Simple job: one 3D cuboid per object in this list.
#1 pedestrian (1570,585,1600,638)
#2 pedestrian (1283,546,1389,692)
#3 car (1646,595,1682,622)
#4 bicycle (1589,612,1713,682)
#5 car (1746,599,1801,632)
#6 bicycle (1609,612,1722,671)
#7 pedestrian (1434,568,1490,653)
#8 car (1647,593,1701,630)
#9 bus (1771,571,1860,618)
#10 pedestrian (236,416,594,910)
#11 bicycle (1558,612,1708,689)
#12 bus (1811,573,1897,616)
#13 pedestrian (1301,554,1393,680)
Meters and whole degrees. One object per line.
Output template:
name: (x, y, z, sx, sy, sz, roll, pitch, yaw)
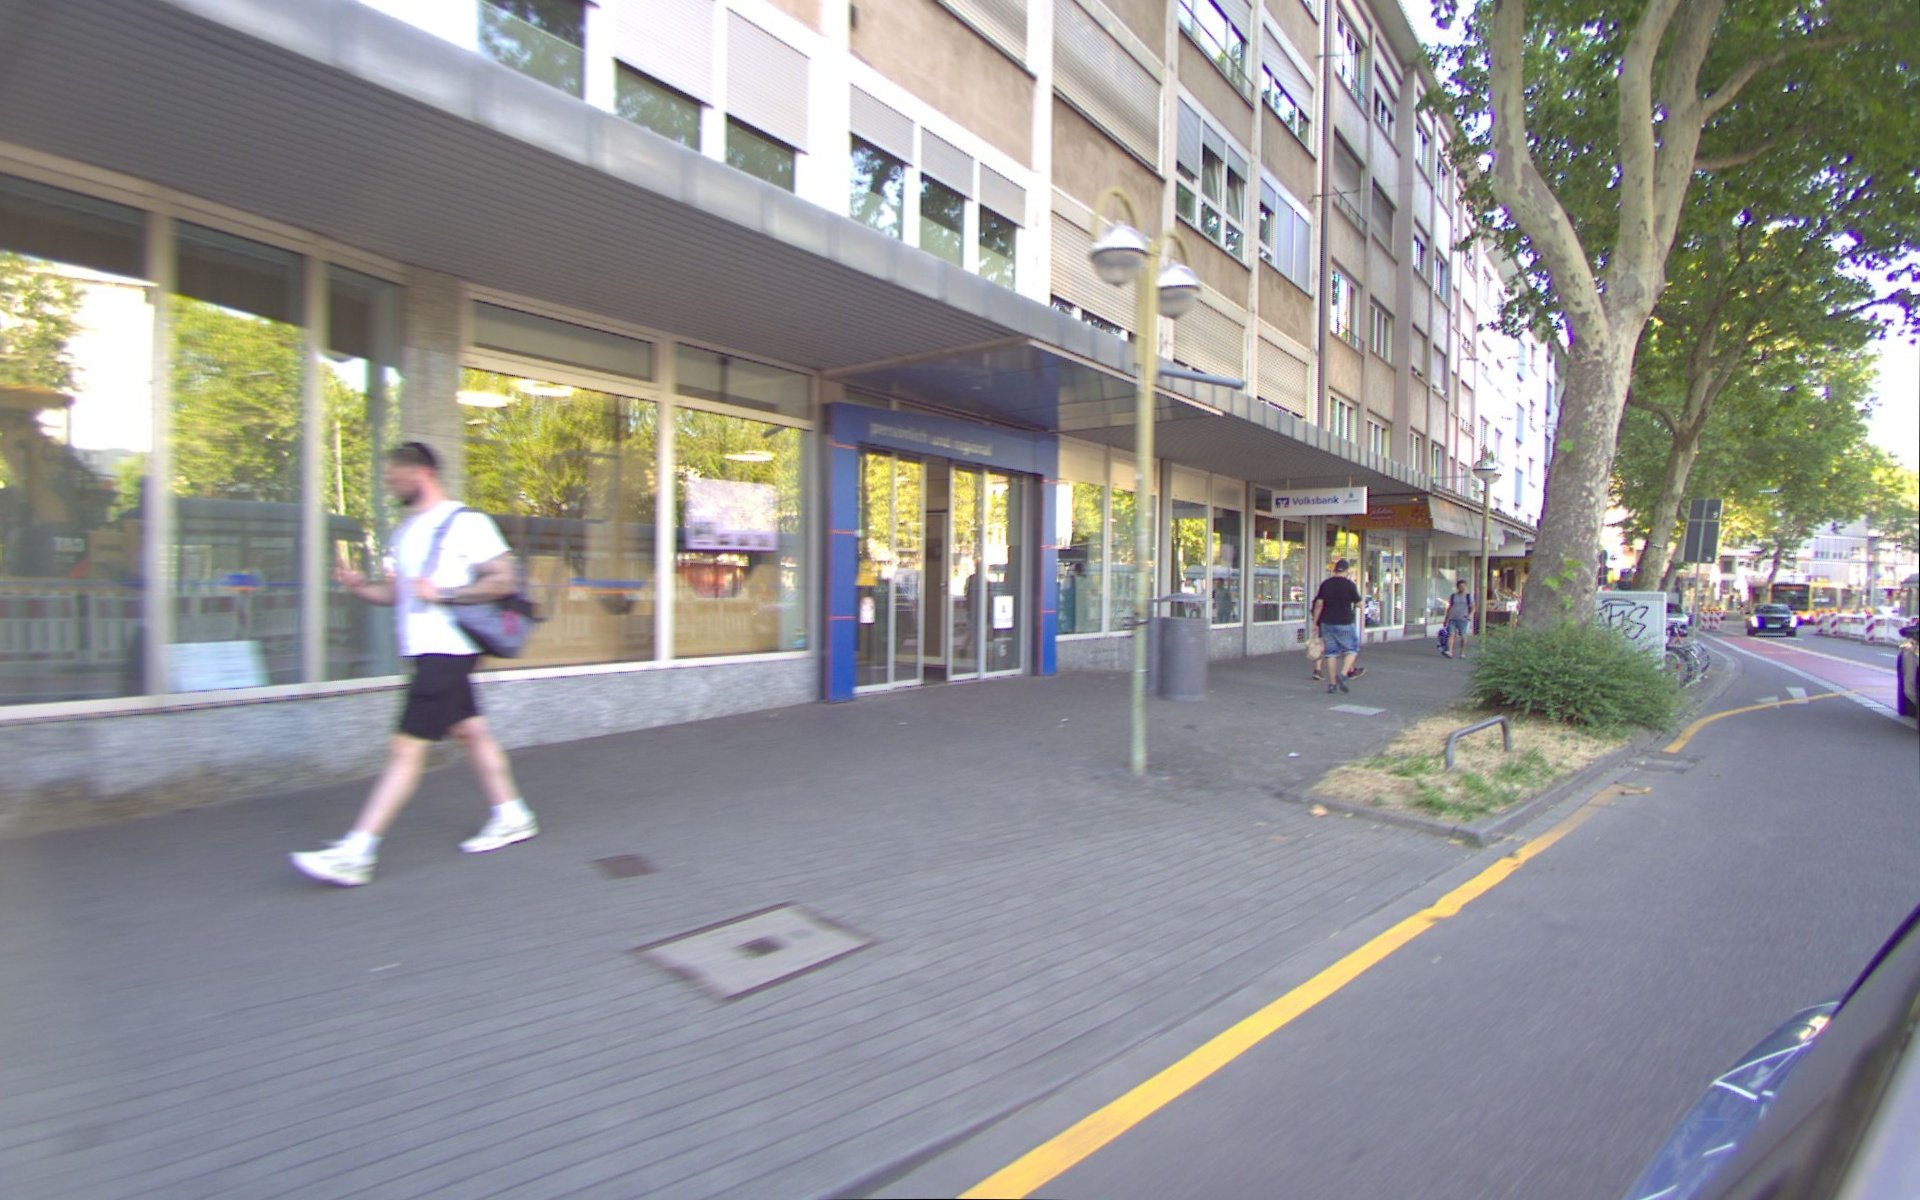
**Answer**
pedestrian: (20.216, 0.357, 32.727, 0.636, 1.694, 0.555, 1, 0, 7)
pedestrian: (4.853, 0.221, 13.041, 0.897, 1.730, 1.057, 6, 3, 36)
car: (42.541, 0.513, 61.116, 1.651, 1.497, 3.752, 3, 2, 36)
bicycle: (12.006, 0.786, 17.605, 1.711, 1.071, 0.635, 3, 2, 39)
car: (40.928, 0.791, 51.005, 1.989, 1.605, 4.556, 0, -1, 37)
bicycle: (14.126, 0.819, 20.319, 1.783, 1.034, 0.636, 3, 2, 34)
pedestrian: (10.490, 0.196, 21.134, 0.841, 1.694, 0.977, 3, 2, 36)
car: (34.611, 0.524, 49.162, 1.911, 1.617, 4.734, 3, 2, 33)
bus: (64.188, -0.333, 75.752, 12.082, 3.248, 2.737, 1, -1, -38)
pedestrian: (-2.416, 0.207, 4.533, 0.836, 1.891, 1.085, 7, 4, 36)
bicycle: (10.999, 0.796, 16.608, 1.980, 1.071, 0.761, 3, 2, 34)
bus: (72.950, -0.375, 82.476, 12.129, 3.248, 2.739, 0, -1, -36)
pedestrian: (5.703, 0.228, 14.889, 0.897, 1.717, 1.057, 6, 3, 36)
